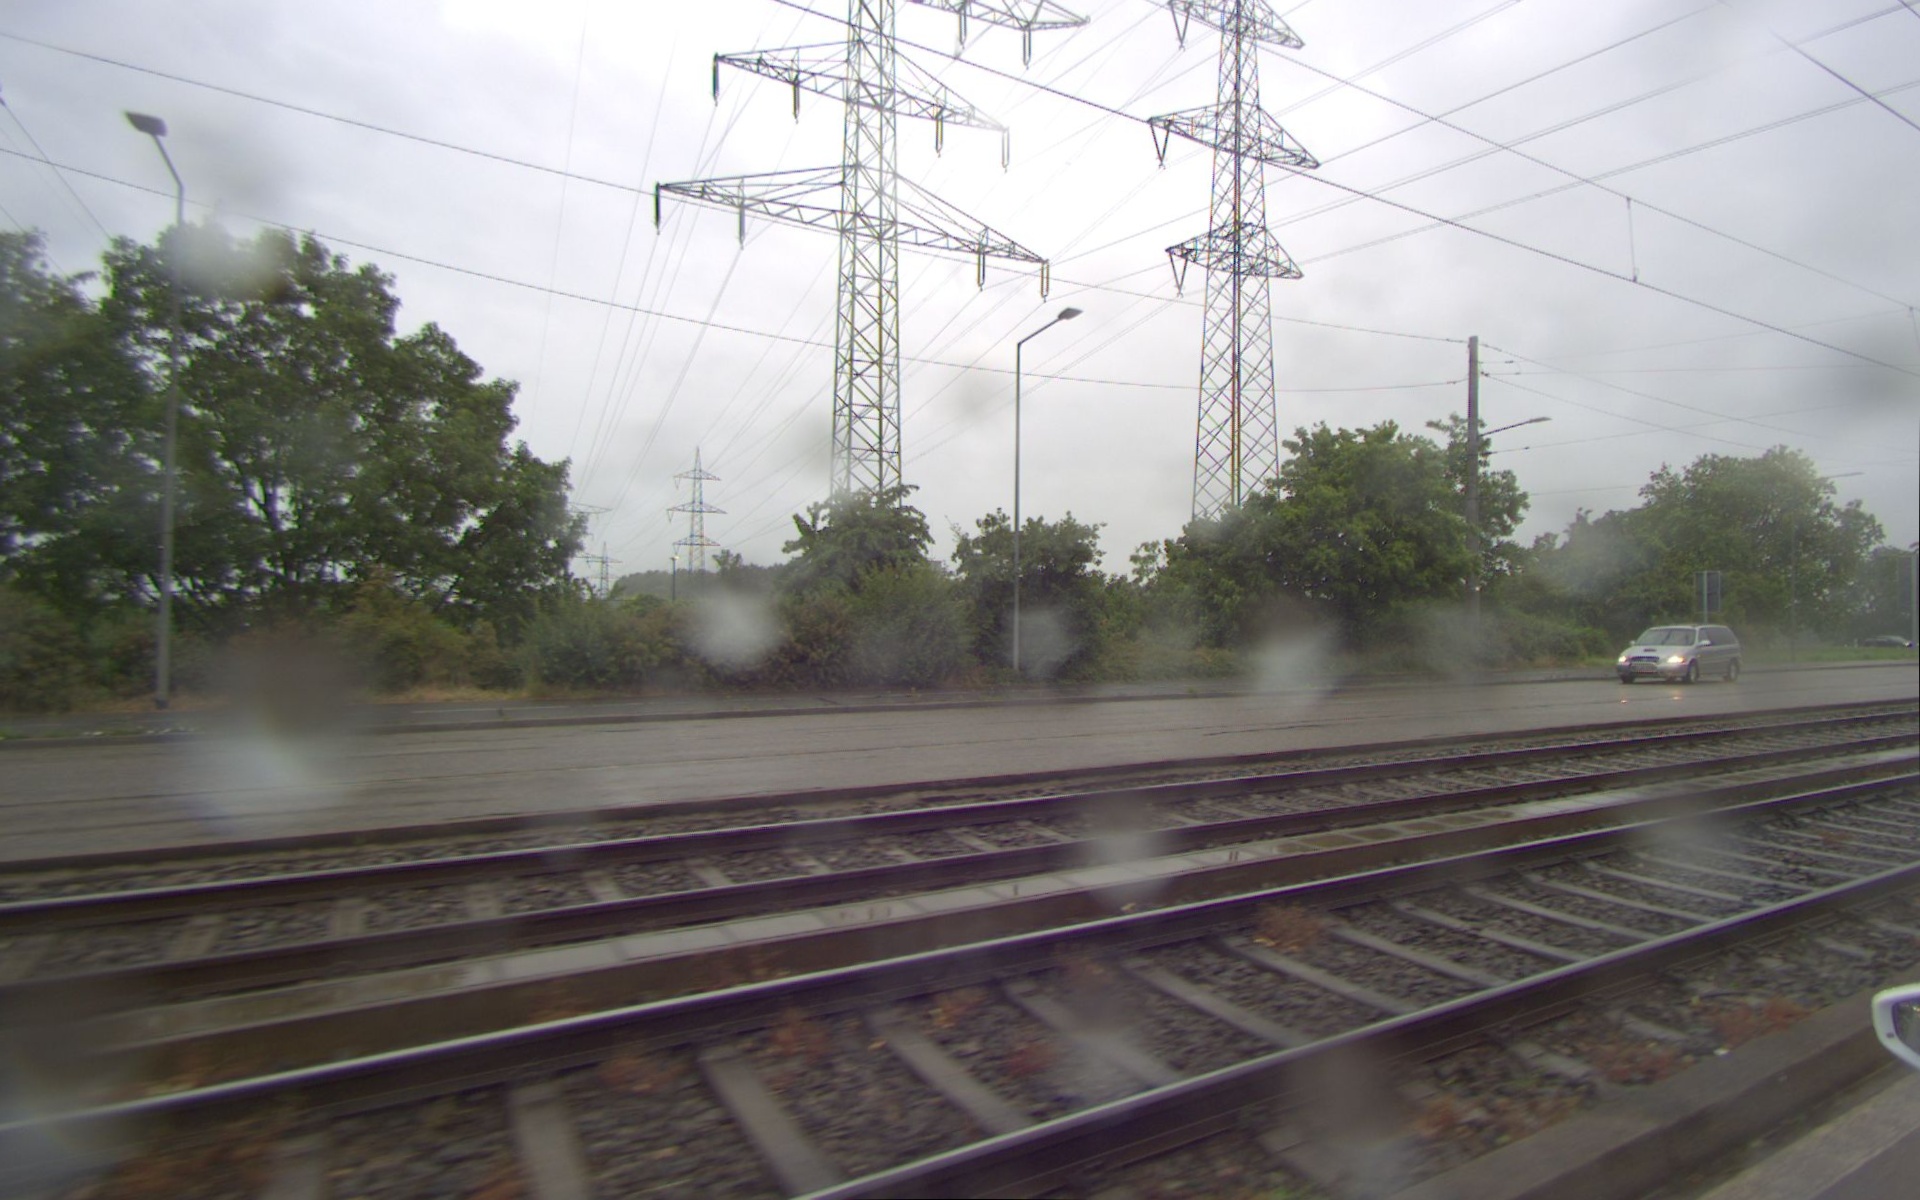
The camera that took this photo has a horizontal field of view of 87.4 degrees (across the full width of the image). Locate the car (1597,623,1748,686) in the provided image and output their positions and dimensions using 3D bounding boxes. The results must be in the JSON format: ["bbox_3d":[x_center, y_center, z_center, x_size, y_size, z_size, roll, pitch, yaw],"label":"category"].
[{"bbox_3d":[21.598,1.576,30.387,5.077,1.657,1.816,0,1,-31],"label":"car"}]

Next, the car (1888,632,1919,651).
[{"bbox_3d":[96.256,4.169,101.346,1.810,1.709,4.651,1,1,15],"label":"car"}]
